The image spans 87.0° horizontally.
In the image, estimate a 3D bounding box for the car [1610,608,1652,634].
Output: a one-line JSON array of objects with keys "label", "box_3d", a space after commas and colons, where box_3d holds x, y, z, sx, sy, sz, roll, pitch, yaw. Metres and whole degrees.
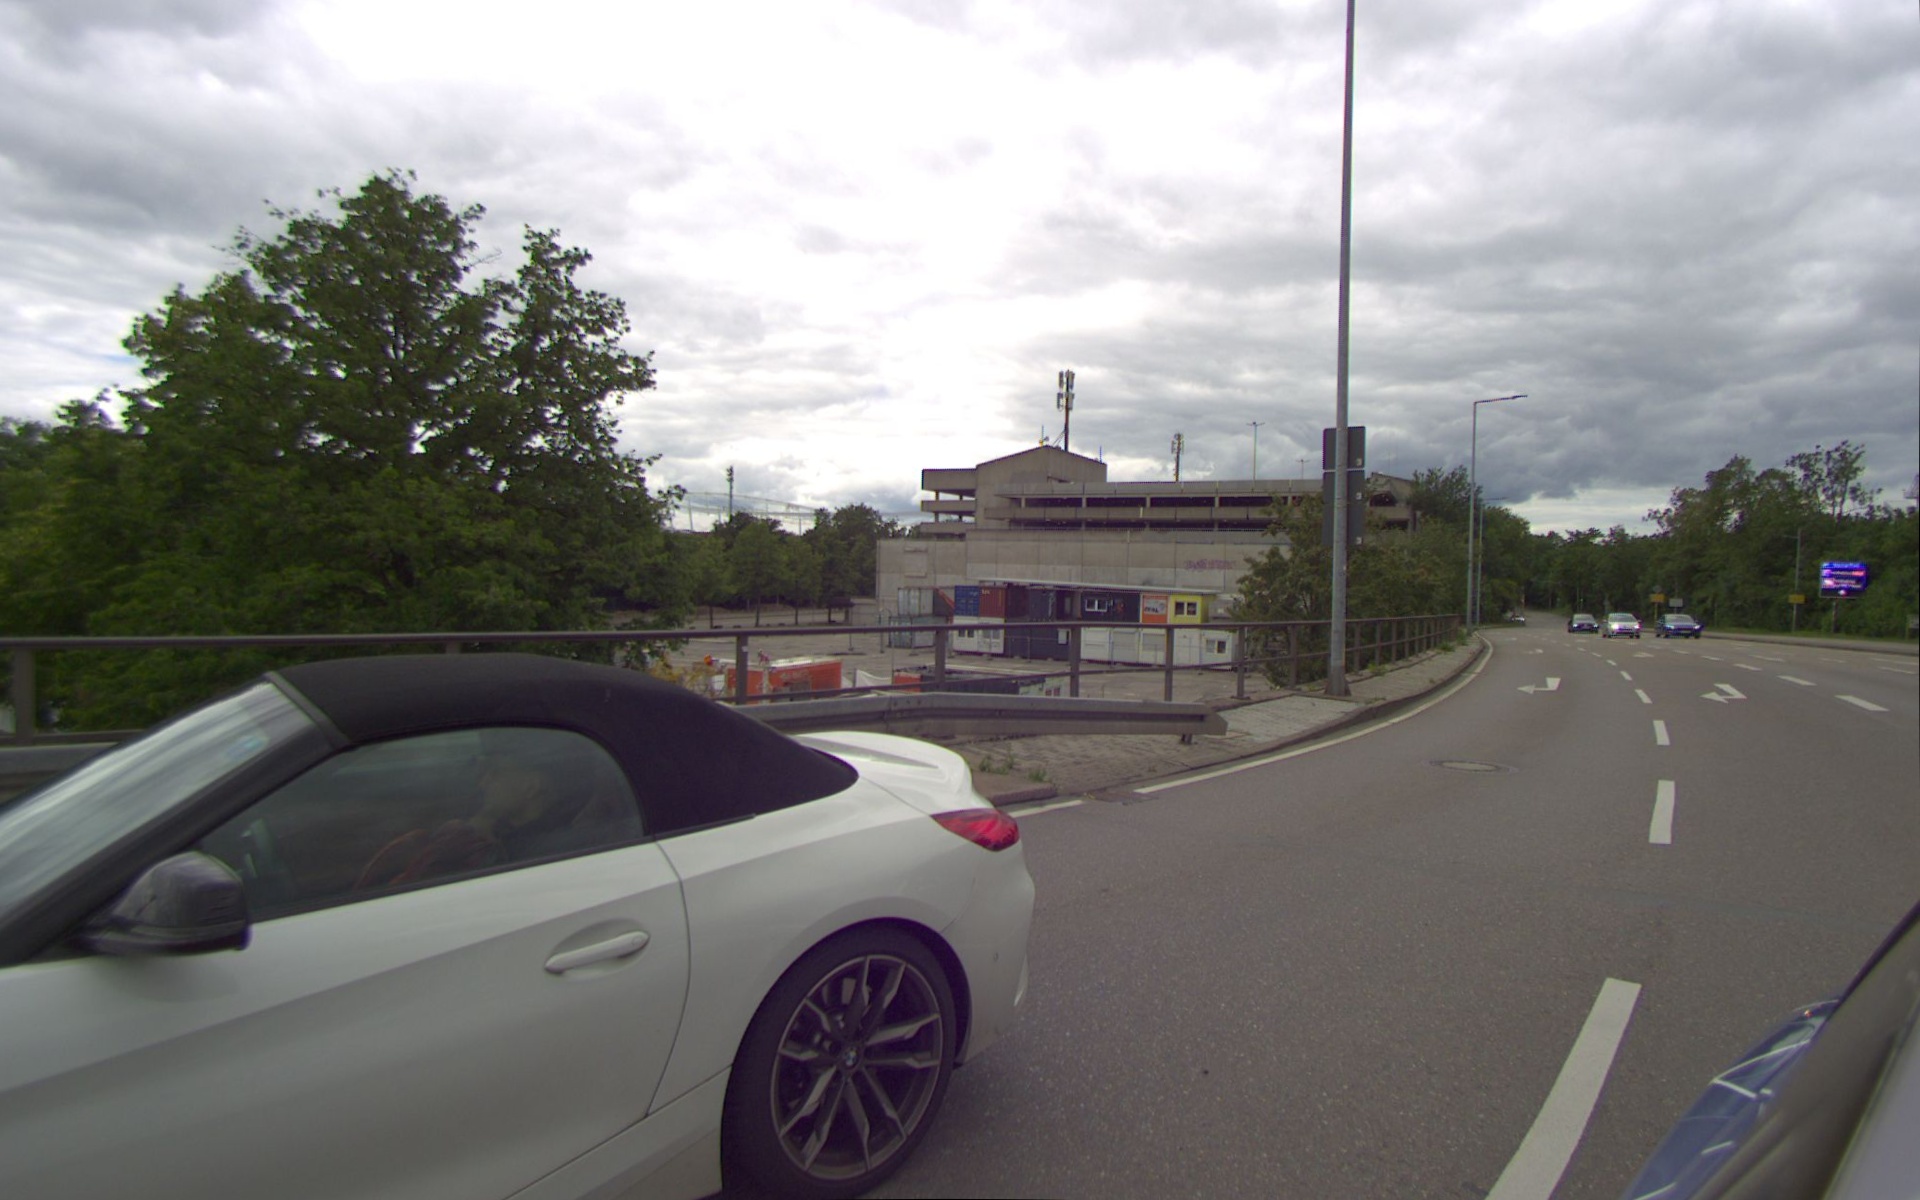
[{"label": "car", "box_3d": [39.234, 1.229, 59.271, 1.594, 1.434, 3.558, 1, 0, 26]}]

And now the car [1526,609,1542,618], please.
[{"label": "car", "box_3d": [90.796, 2.132, 160.174, 1.847, 1.434, 4.300, 1, 0, 25]}]

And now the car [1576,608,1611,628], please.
[{"label": "car", "box_3d": [48.029, 1.363, 76.801, 1.848, 1.434, 4.297, 1, 0, 27]}]

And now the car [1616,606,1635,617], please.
[{"label": "car", "box_3d": [88.119, 1.534, 134.056, 1.688, 1.482, 3.963, -1, 0, 27]}]

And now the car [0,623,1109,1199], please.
[{"label": "car", "box_3d": [-1.741, 0.755, 2.407, 4.186, 1.308, 1.809, 0, 0, -39]}]

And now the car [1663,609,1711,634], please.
[{"label": "car", "box_3d": [44.163, 1.275, 61.554, 1.827, 1.434, 4.532, 1, 0, 29]}]
